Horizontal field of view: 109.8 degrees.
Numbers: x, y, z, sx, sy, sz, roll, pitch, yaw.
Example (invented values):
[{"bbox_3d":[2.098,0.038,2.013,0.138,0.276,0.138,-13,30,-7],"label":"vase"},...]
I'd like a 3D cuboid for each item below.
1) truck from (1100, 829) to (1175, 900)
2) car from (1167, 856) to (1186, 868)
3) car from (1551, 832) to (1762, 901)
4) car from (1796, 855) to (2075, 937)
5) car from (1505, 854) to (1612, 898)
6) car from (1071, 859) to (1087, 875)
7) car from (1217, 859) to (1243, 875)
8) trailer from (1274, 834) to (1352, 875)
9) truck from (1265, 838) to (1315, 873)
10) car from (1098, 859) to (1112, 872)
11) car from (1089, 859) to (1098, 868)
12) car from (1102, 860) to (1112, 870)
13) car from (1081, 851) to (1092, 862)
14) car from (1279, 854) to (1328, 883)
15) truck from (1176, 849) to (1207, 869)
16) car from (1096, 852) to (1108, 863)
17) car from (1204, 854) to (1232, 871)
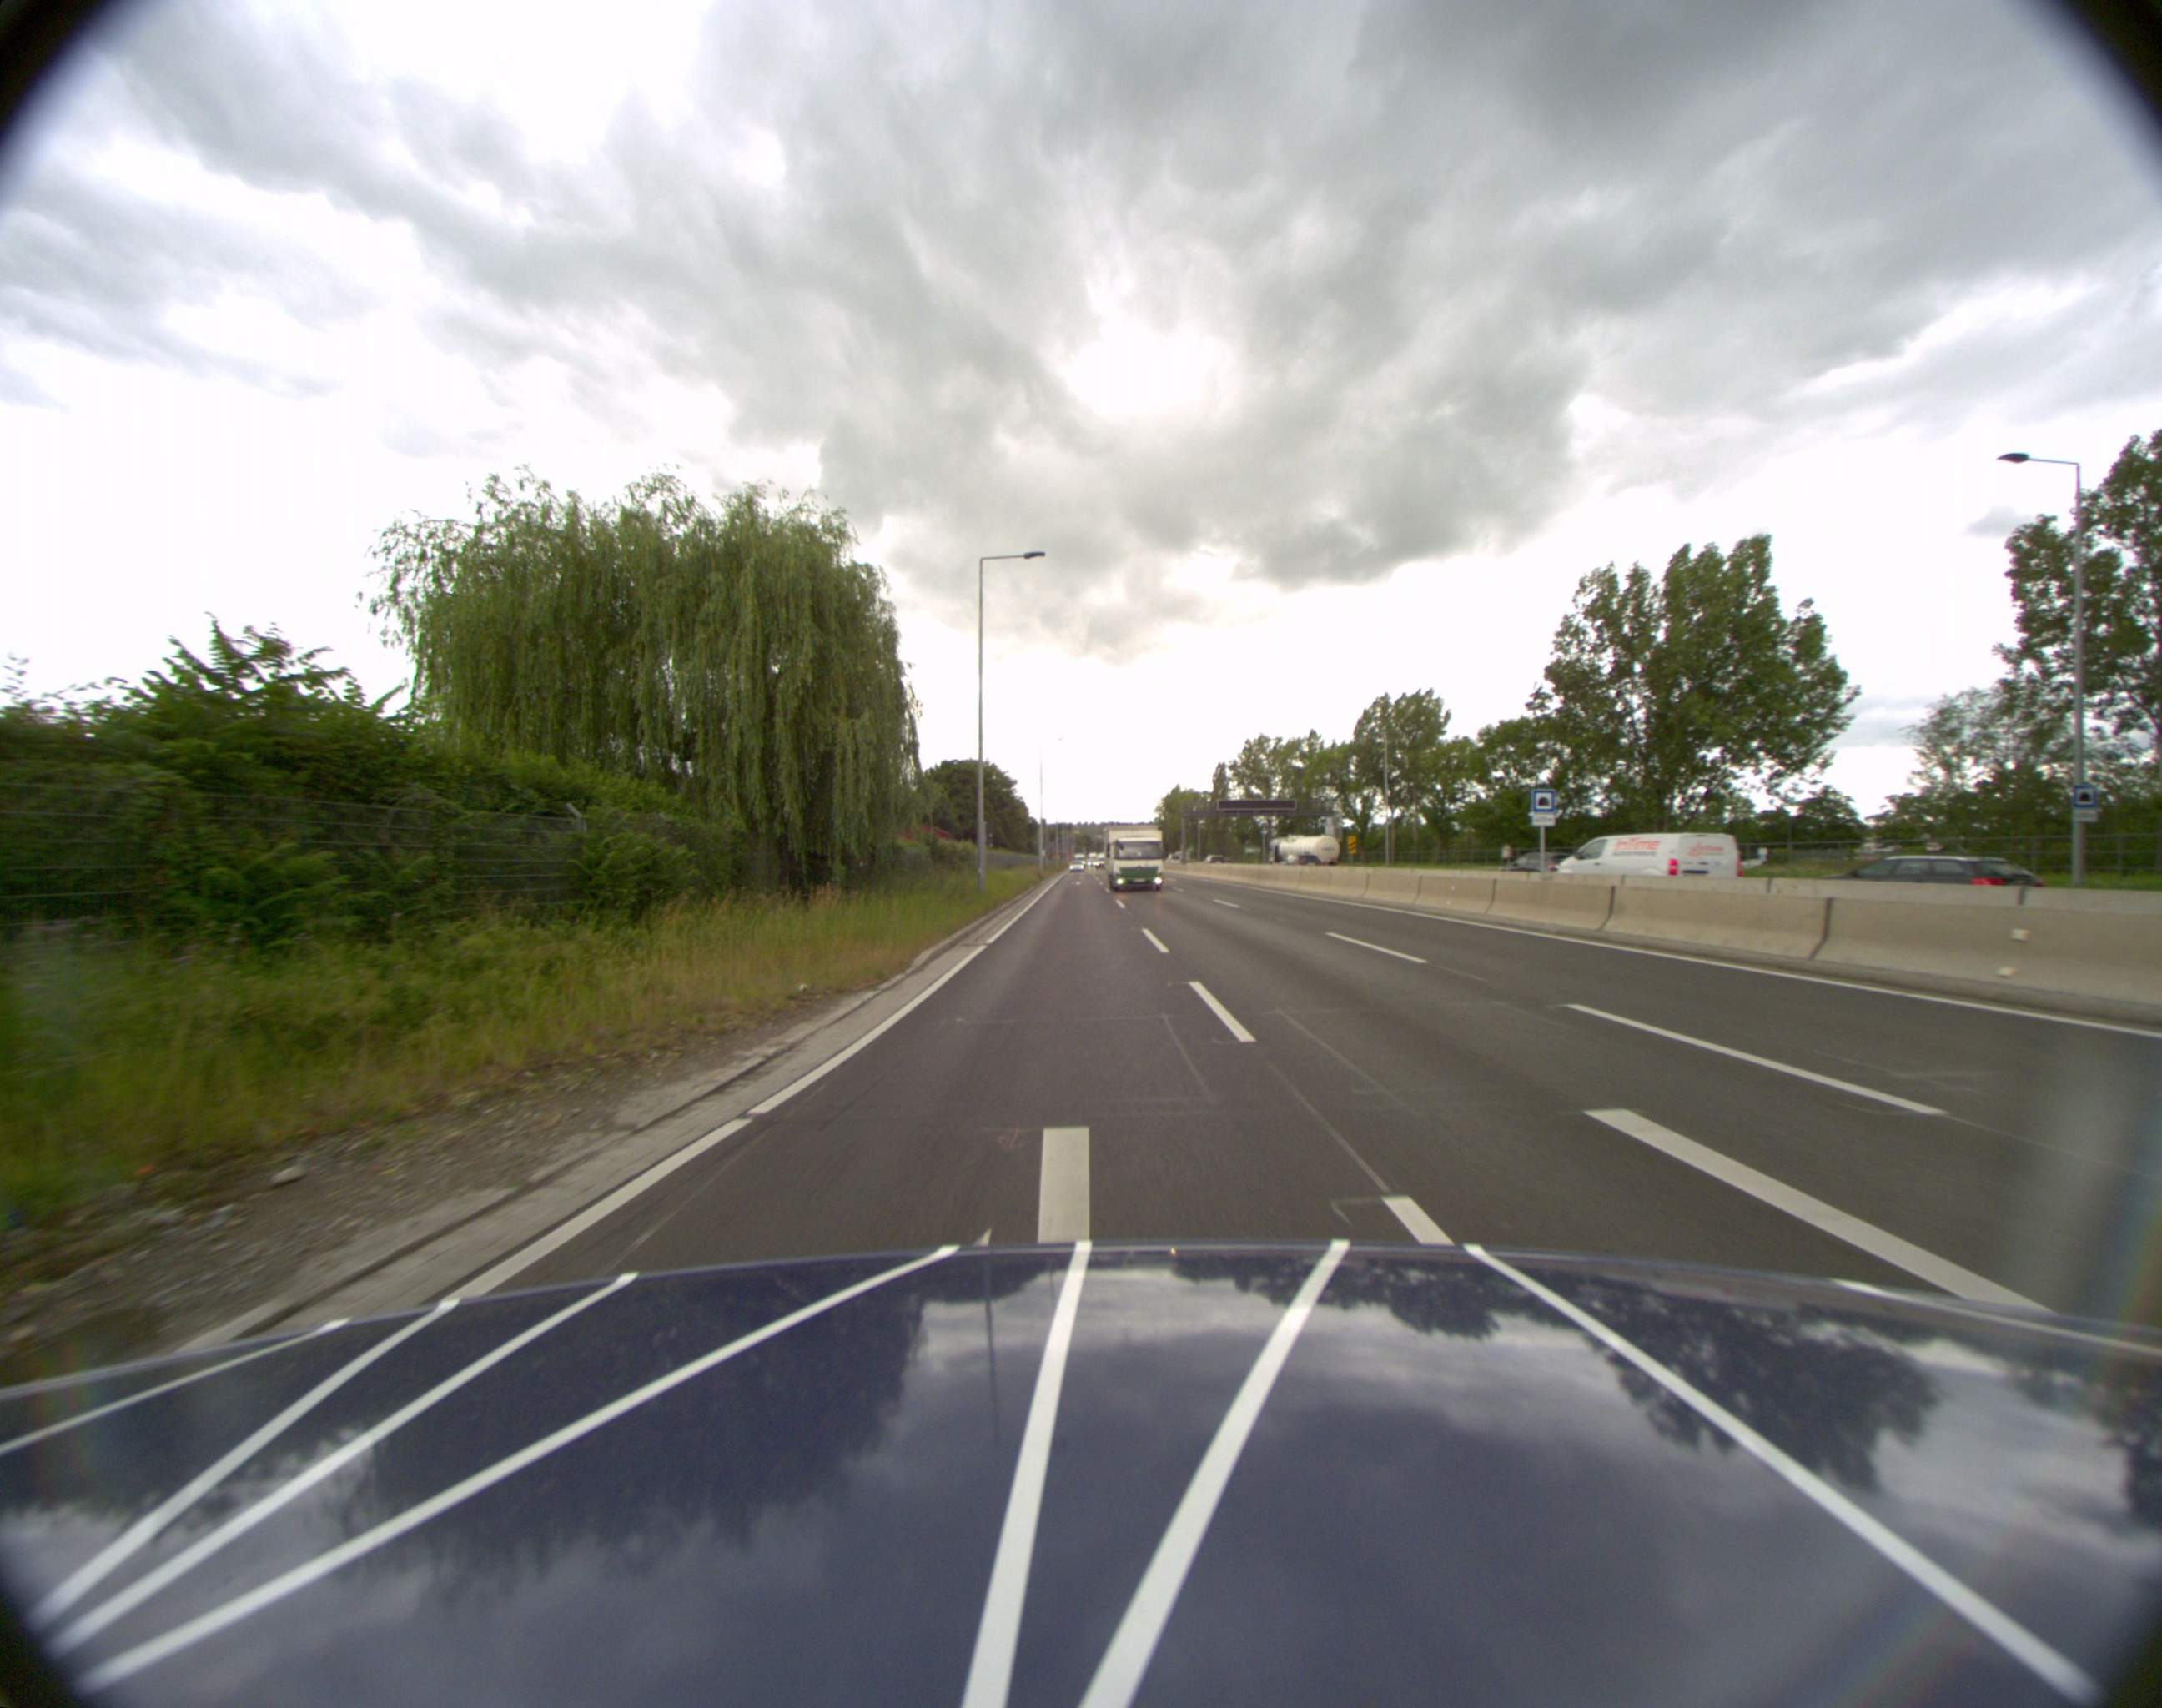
[{"bbox_3d":[2.680,0.535,38.704,2.943,3.064,8.387,-3,-1,-1],"label":"truck"},{"bbox_3d":[13.218,1.143,105.740,1.998,1.608,4.697,-3,-1,1],"label":"car"},{"bbox_3d":[15.443,0.337,20.822,1.999,1.550,4.886,-3,-1,0],"label":"car"},{"bbox_3d":[21.287,0.974,19.284,1.998,1.728,4.470,-3,-1,1],"label":"car"},{"bbox_3d":[21.068,0.953,33.769,1.998,1.728,4.304,-3,-1,1],"label":"car"},{"bbox_3d":[-0.273,1.649,98.172,1.998,1.848,4.000,-3,-1,0],"label":"car"},{"bbox_3d":[17.133,1.483,87.400,1.998,1.608,4.697,-3,-1,1],"label":"car"},{"bbox_3d":[20.467,0.123,68.062,3.108,3.201,11.668,-3,-1,-1],"label":"trailer"},{"bbox_3d":[20.355,0.194,74.425,3.106,3.200,5.391,-3,-1,-2],"label":"truck"},{"bbox_3d":[3.696,1.807,118.743,1.998,2.001,4.000,-3,-1,0],"label":"car"},{"bbox_3d":[2.836,2.089,170.984,1.998,2.001,4.000,-3,-1,0],"label":"car"},{"bbox_3d":[5.699,2.410,167.945,1.998,2.001,4.000,-3,-1,0],"label":"car"},{"bbox_3d":[0.972,0.510,147.259,1.998,2.001,4.000,-3,-1,0],"label":"car"},{"bbox_3d":[14.430,0.929,49.529,1.998,1.728,4.001,-3,-1,1],"label":"car"},{"bbox_3d":[19.059,0.876,131.926,2.861,3.088,15.886,-3,-1,-1],"label":"truck"},{"bbox_3d":[4.117,0.729,148.736,1.998,2.001,4.000,-3,-1,0],"label":"car"},{"bbox_3d":[14.104,0.895,78.610,1.998,1.608,4.697,-3,-1,1],"label":"car"}]
